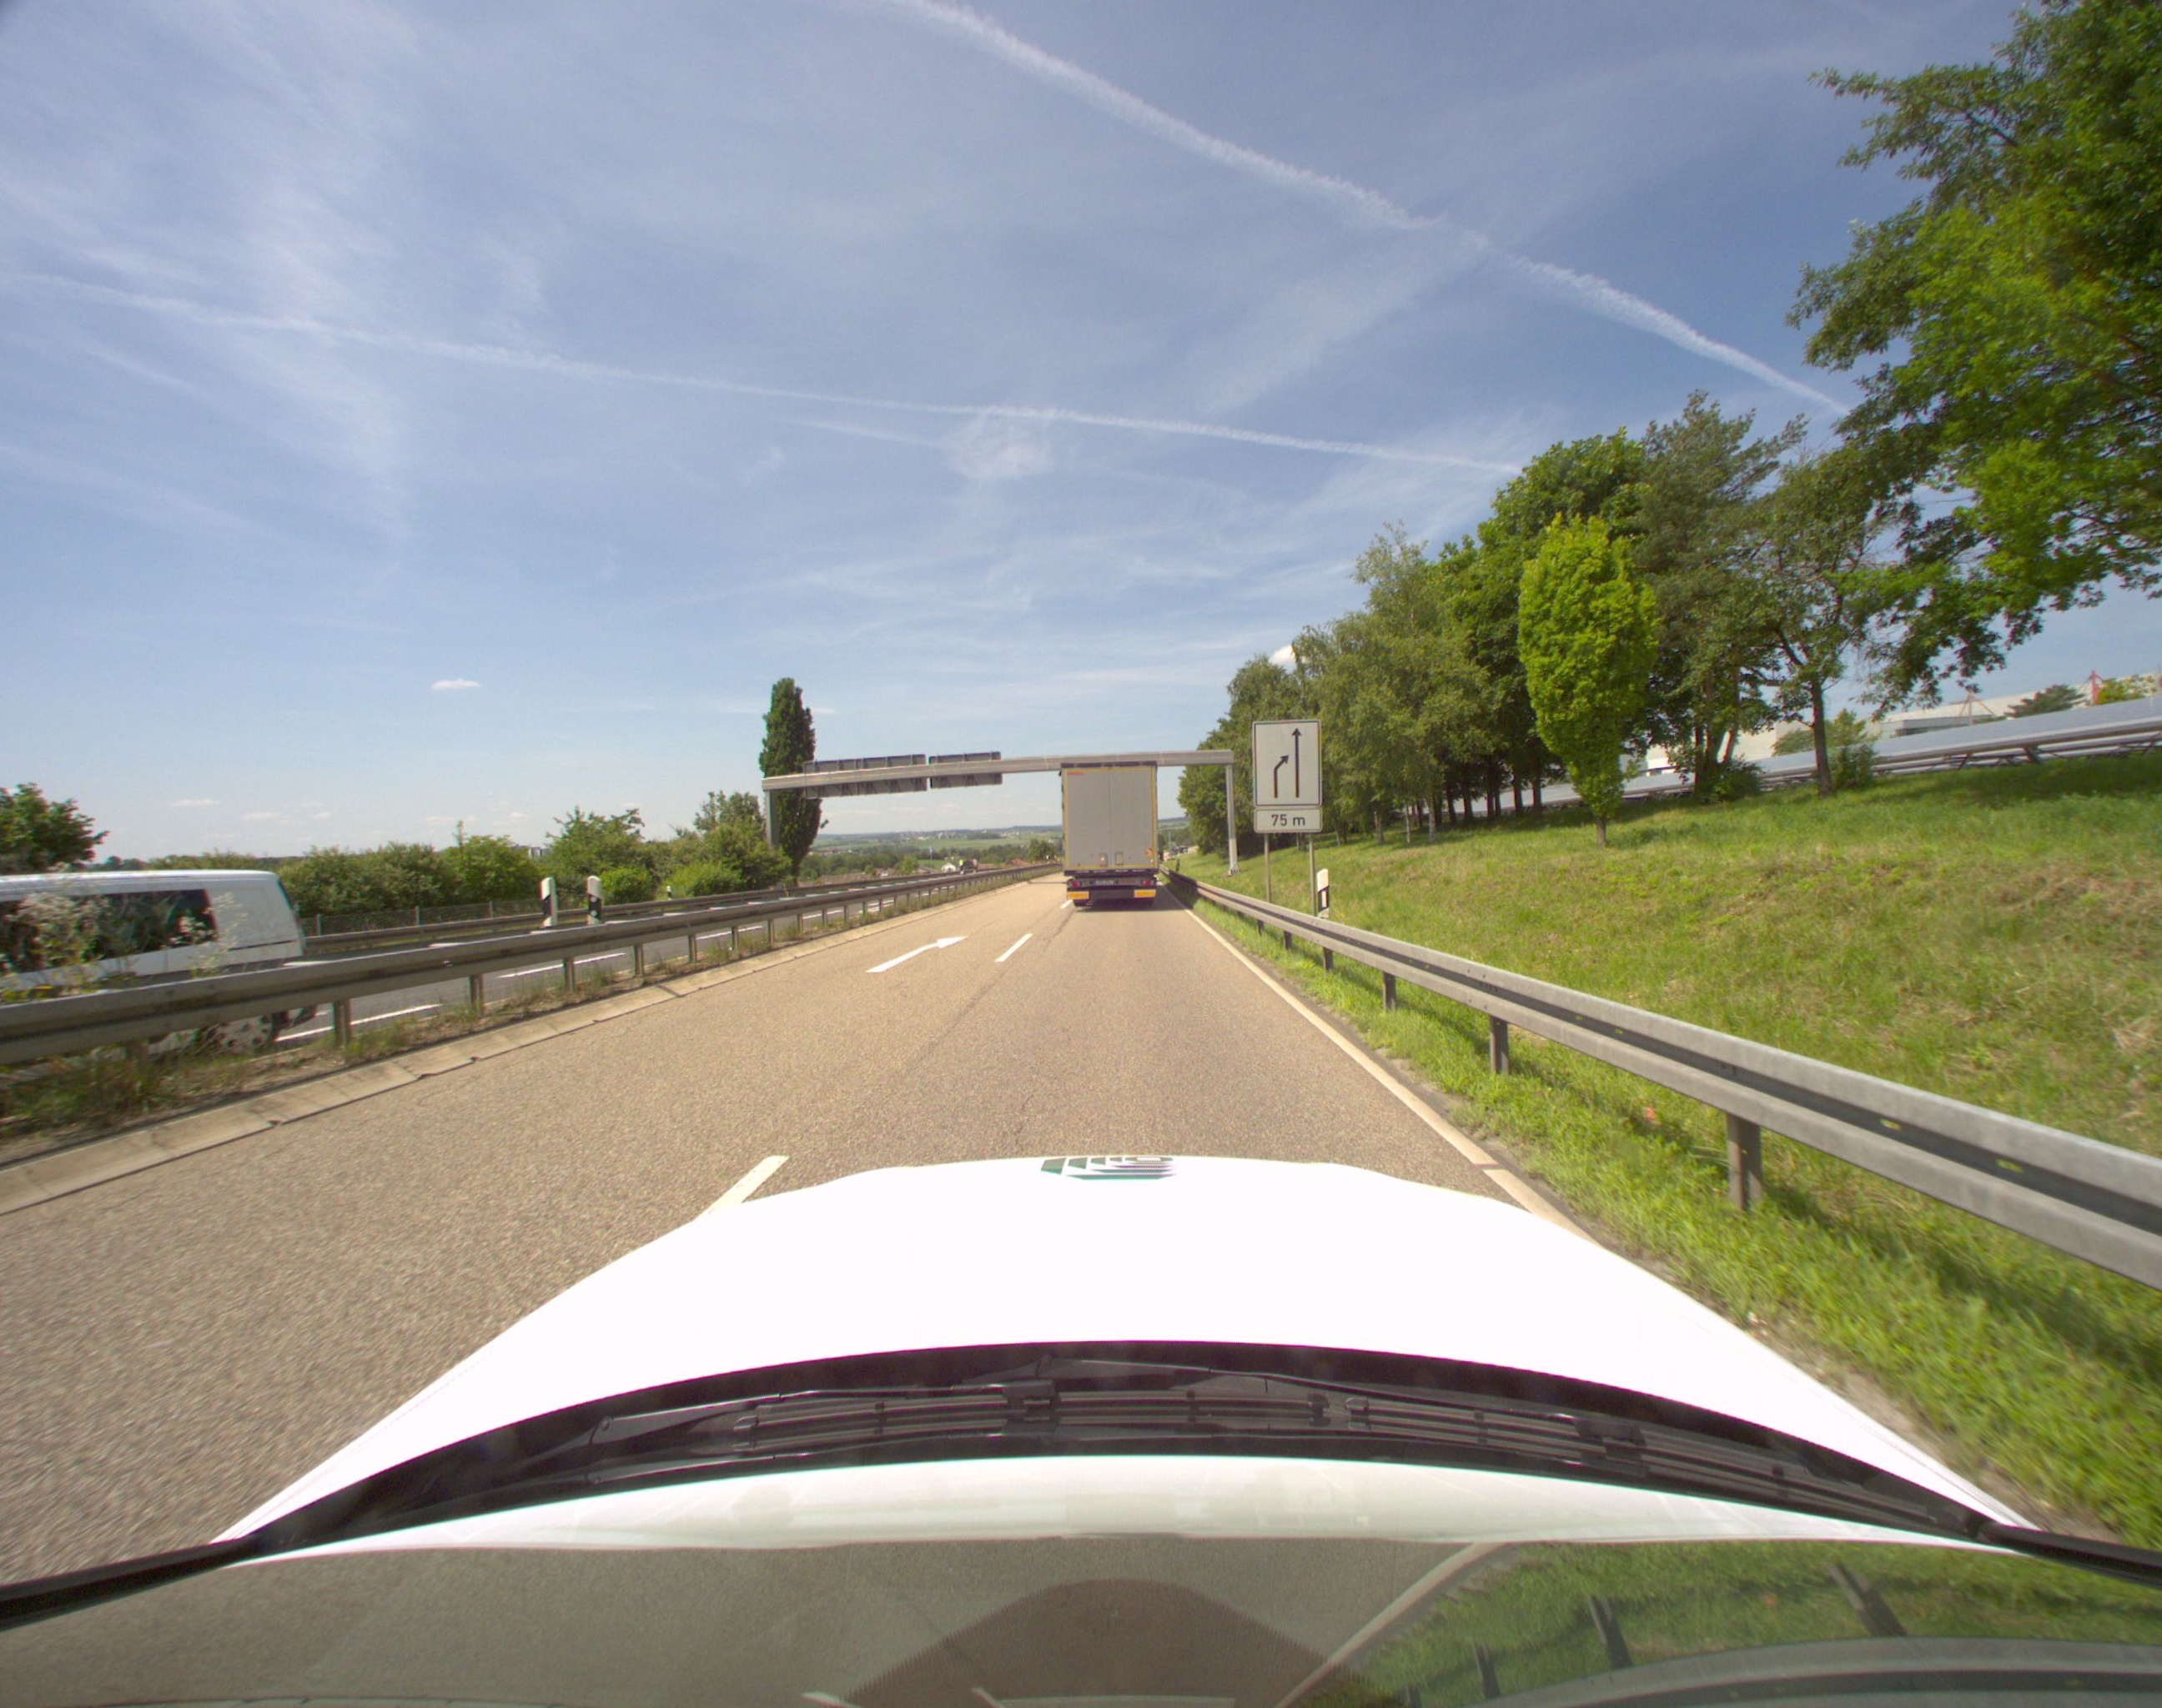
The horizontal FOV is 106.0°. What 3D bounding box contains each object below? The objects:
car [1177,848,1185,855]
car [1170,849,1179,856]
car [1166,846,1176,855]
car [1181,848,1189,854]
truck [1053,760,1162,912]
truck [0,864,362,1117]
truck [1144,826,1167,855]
[{"bbox_3d":[26.053,-0.589,212.431,1.779,1.688,4.003,-2,-1,3],"label":"car"},{"bbox_3d":[22.100,-0.374,191.902,1.779,1.688,4.003,-2,-1,3],"label":"car"},{"bbox_3d":[19.258,-0.721,174.667,1.779,1.688,4.003,-2,-1,3],"label":"car"},{"bbox_3d":[29.588,-0.891,232.029,1.779,1.688,4.003,-2,-1,3],"label":"car"},{"bbox_3d":[1.025,-0.482,26.990,2.787,3.929,11.351,-1,0,3],"label":"truck"},{"bbox_3d":[-8.420,1.022,6.053,1.841,1.749,4.541,-5,-1,3],"label":"truck"},{"bbox_3d":[10.924,-1.878,118.548,2.640,3.764,10.187,-2,-1,9],"label":"truck"}]
